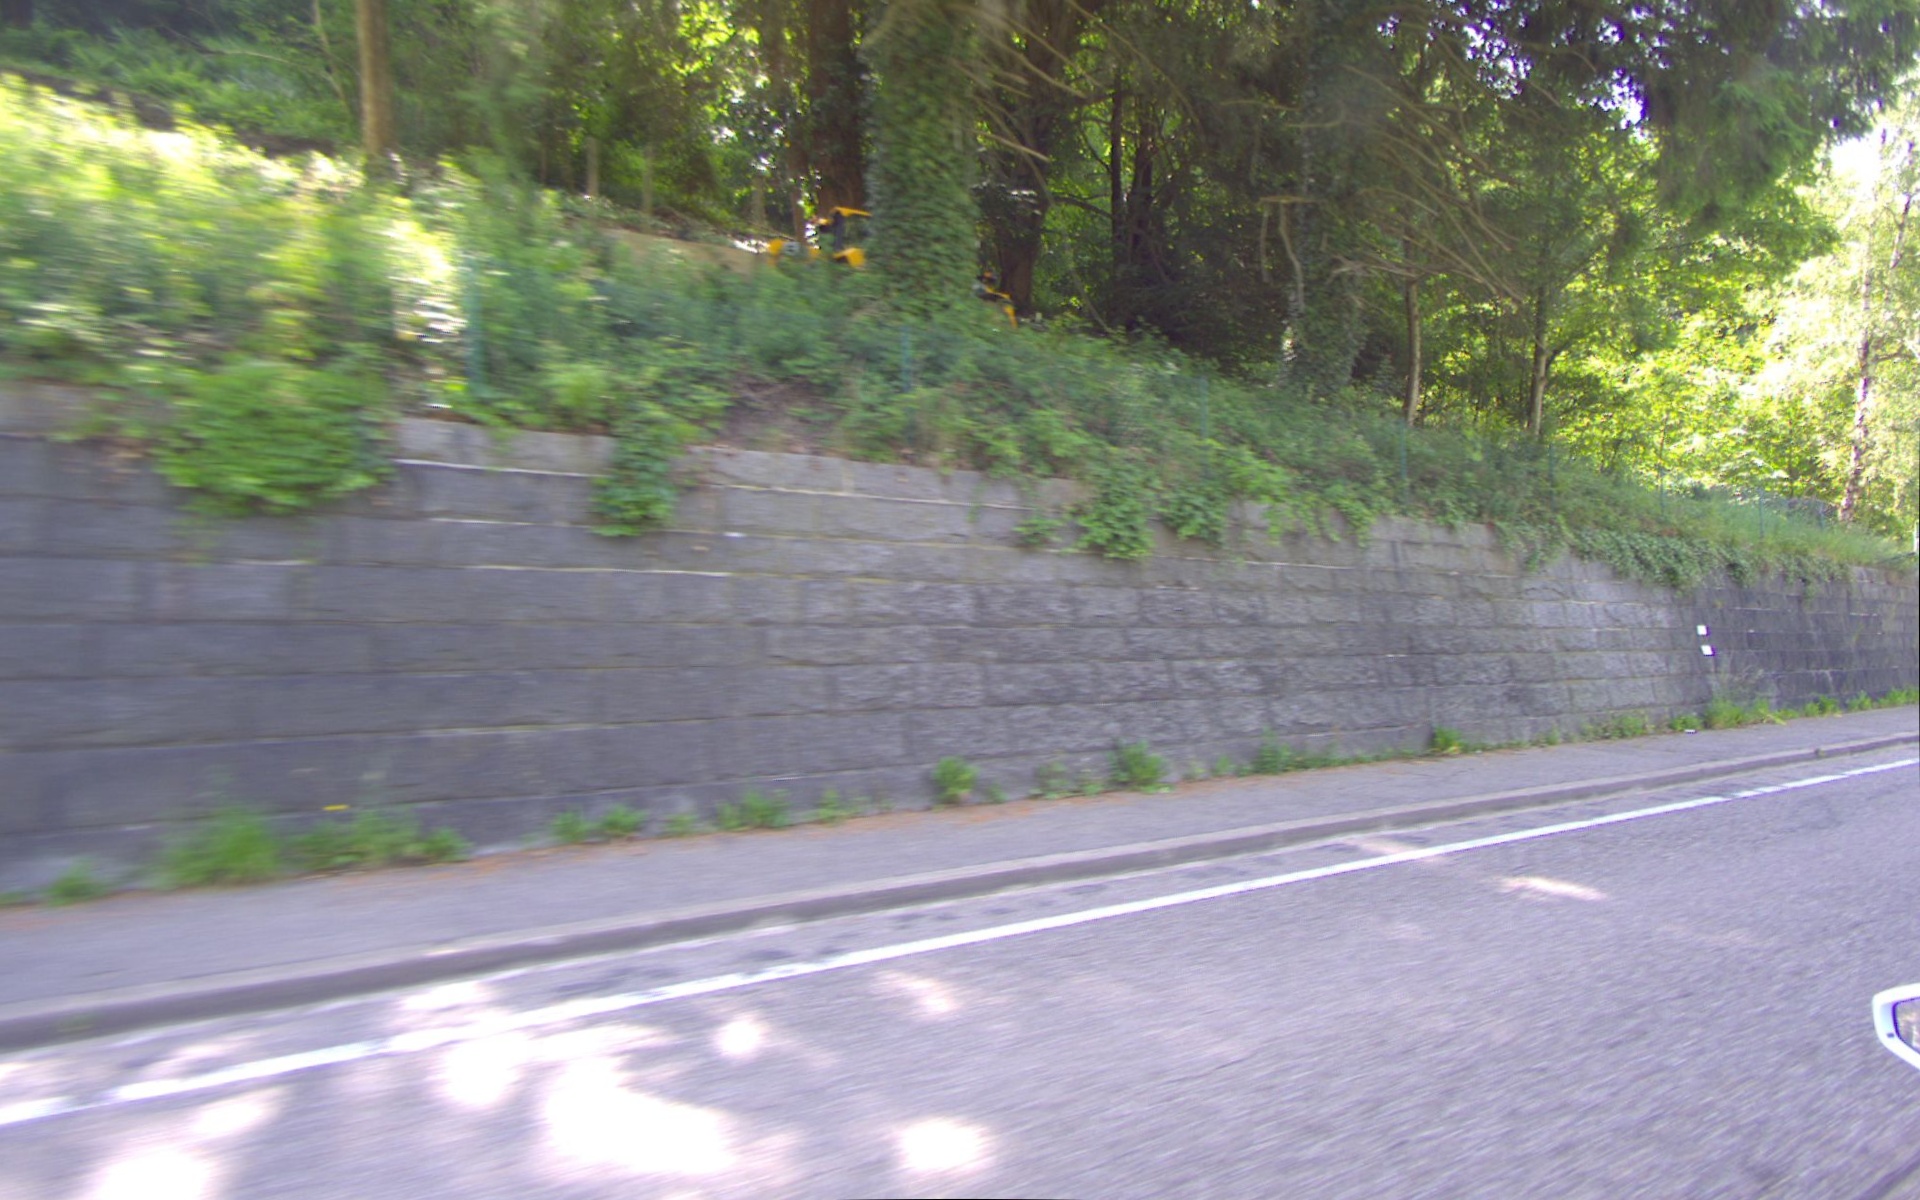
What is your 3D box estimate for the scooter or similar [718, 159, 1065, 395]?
[{"bbox_3d":[-0.938,-4.271,14.021,4.351,2.054,1.969,2,4,-29],"label":"scooter or similar"}]
